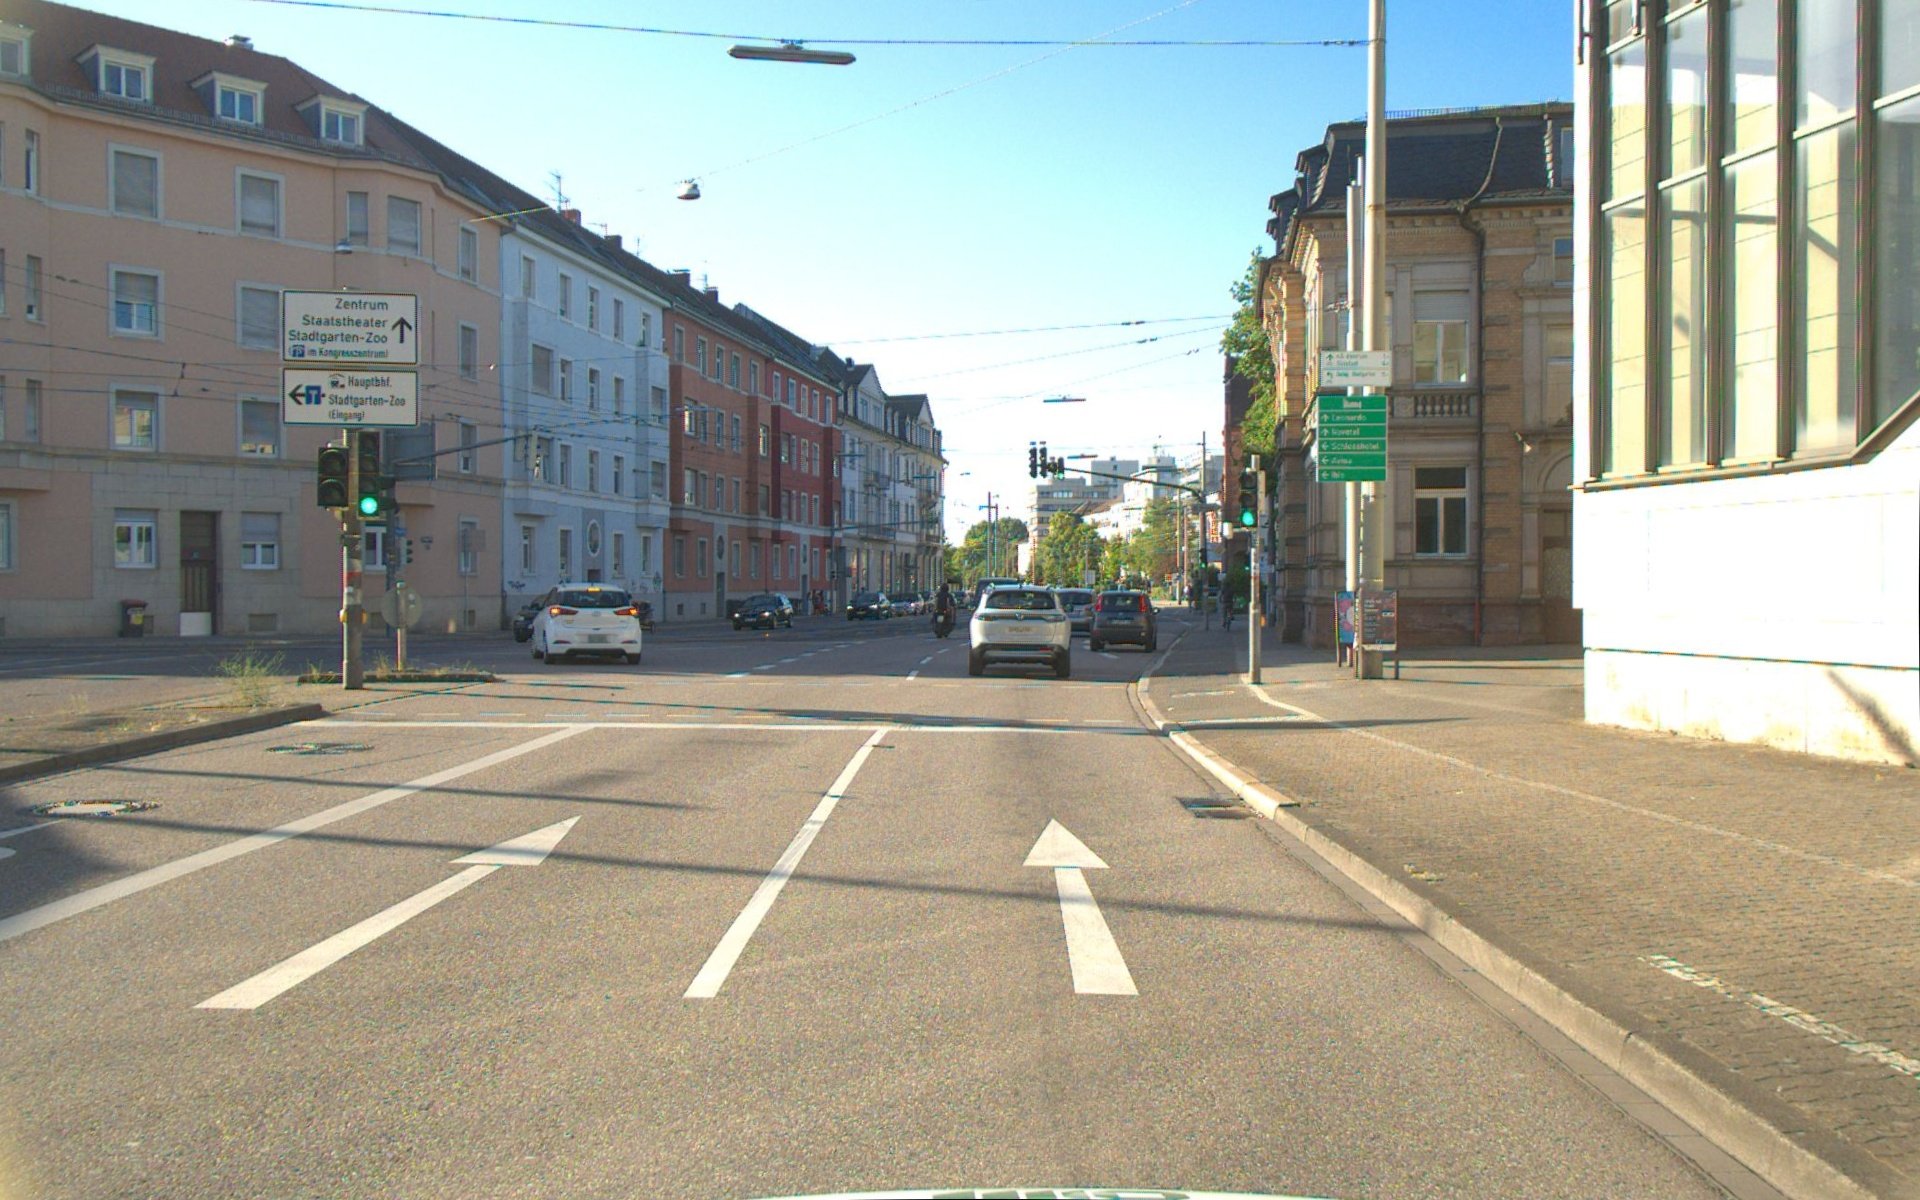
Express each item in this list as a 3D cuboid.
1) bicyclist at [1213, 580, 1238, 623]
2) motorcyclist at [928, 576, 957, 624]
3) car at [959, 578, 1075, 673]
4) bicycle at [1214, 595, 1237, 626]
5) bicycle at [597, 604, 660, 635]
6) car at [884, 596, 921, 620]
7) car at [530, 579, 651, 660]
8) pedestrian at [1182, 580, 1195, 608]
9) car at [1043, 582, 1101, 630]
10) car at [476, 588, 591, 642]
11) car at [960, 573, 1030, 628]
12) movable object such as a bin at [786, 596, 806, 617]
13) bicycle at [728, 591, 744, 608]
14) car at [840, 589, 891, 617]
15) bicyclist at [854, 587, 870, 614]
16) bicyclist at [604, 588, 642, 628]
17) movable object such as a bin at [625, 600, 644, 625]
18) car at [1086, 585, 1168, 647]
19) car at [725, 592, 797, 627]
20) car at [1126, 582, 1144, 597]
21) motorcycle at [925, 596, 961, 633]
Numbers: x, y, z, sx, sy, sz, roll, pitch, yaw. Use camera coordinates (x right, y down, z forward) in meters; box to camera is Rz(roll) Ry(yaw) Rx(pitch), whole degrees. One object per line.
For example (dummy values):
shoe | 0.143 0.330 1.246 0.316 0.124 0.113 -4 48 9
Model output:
bicyclist | 9.741 0.039 60.664 0.816 1.552 0.994 0 0 5
motorcyclist | -0.526 -0.003 51.235 0.760 1.448 0.892 0 0 9
car | 1.030 0.400 29.455 1.907 1.555 4.091 0 1 2
bicycle | 9.751 0.378 60.751 0.754 1.105 1.872 0 0 7
bicycle | -11.886 0.685 59.480 0.914 1.074 3.357 0 1 13
car | -3.470 0.460 100.440 1.689 1.399 3.537 0 0 8
car | -7.005 0.326 31.106 1.760 1.418 4.082 0 0 -20
pedestrian | 15.408 -0.400 111.434 0.857 1.856 1.185 0 0 10
car | 3.945 0.204 57.640 1.775 1.610 4.003 0 0 7
car | -11.872 0.385 46.285 1.785 1.450 4.330 0 0 5
car | 1.415 0.015 64.135 2.125 2.044 4.812 0 0 8
movable object such as a bin | -10.115 0.421 101.912 0.852 1.271 1.234 0 0 15
bicycle | -12.068 -0.030 89.171 0.327 0.906 1.606 0 0 13
car | -5.068 0.129 89.536 1.881 1.481 4.502 0 0 8
bicyclist | -5.972 0.033 100.755 0.730 1.671 1.127 0 0 9
bicyclist | -12.012 0.289 58.933 0.914 1.406 1.149 0 0 13
movable object such as a bin | -14.538 0.559 73.861 0.687 1.125 0.583 0 0 9
car | 4.388 0.366 43.100 1.694 1.527 4.004 0 1 12
car | -8.198 0.380 68.603 1.951 1.416 4.565 0 0 7
car | 19.740 -1.169 186.401 1.951 1.691 4.501 0 1 7
motorcycle | -0.511 0.424 51.307 0.760 1.101 2.283 0 1 9
